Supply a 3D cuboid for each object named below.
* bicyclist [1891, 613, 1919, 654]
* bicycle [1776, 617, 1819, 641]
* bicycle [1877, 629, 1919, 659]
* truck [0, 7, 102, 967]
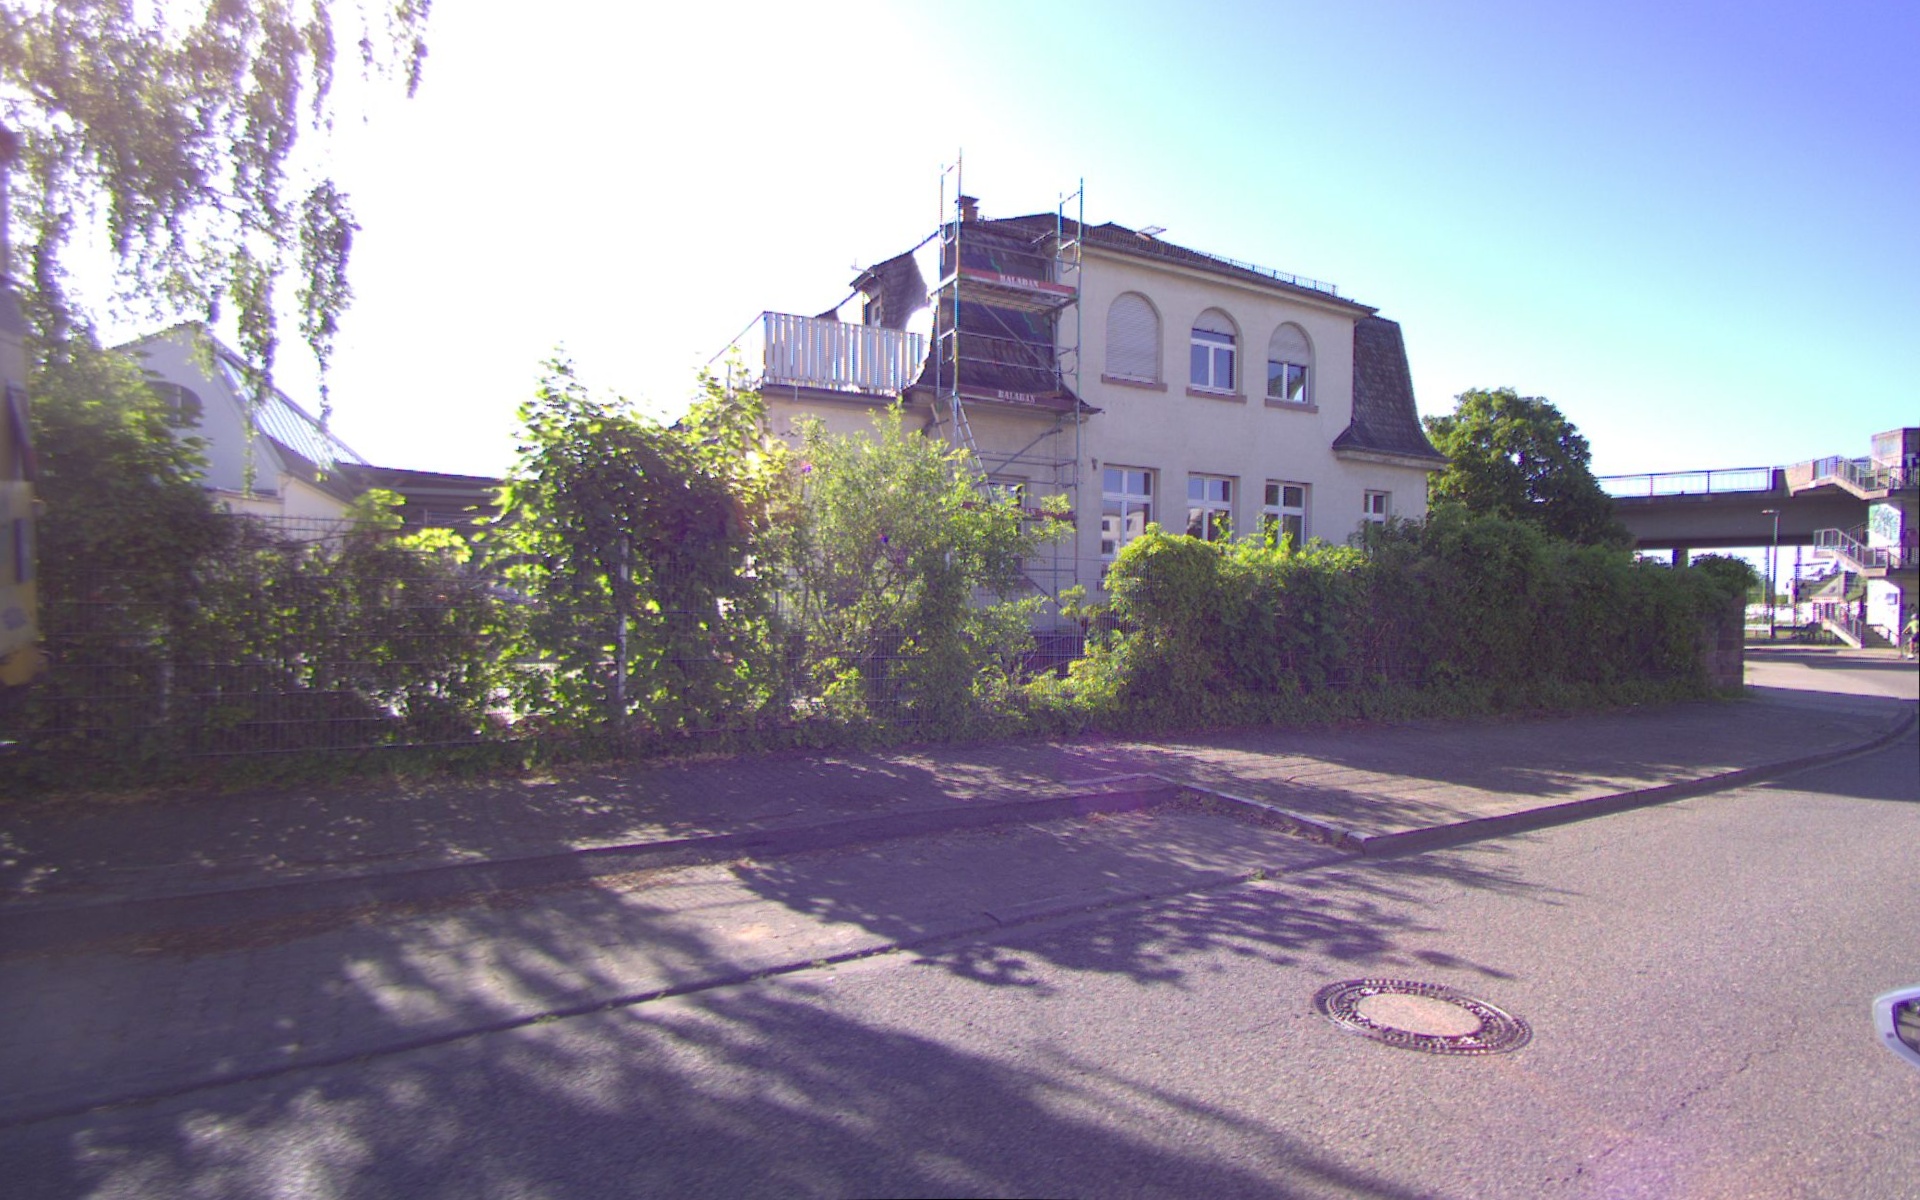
[{"bbox_3d":[36.245,1.265,38.237,0.826,1.508,0.924,0,0,10],"label":"bicyclist"},{"bbox_3d":[44.457,1.536,53.349,0.587,1.198,2.182,0,0,5],"label":"bicycle"},{"bbox_3d":[36.277,1.685,38.351,0.826,1.065,2.191,0,0,11],"label":"bicycle"},{"bbox_3d":[-7.164,-0.484,1.969,7.915,3.669,2.826,1,5,-31],"label":"truck"}]
